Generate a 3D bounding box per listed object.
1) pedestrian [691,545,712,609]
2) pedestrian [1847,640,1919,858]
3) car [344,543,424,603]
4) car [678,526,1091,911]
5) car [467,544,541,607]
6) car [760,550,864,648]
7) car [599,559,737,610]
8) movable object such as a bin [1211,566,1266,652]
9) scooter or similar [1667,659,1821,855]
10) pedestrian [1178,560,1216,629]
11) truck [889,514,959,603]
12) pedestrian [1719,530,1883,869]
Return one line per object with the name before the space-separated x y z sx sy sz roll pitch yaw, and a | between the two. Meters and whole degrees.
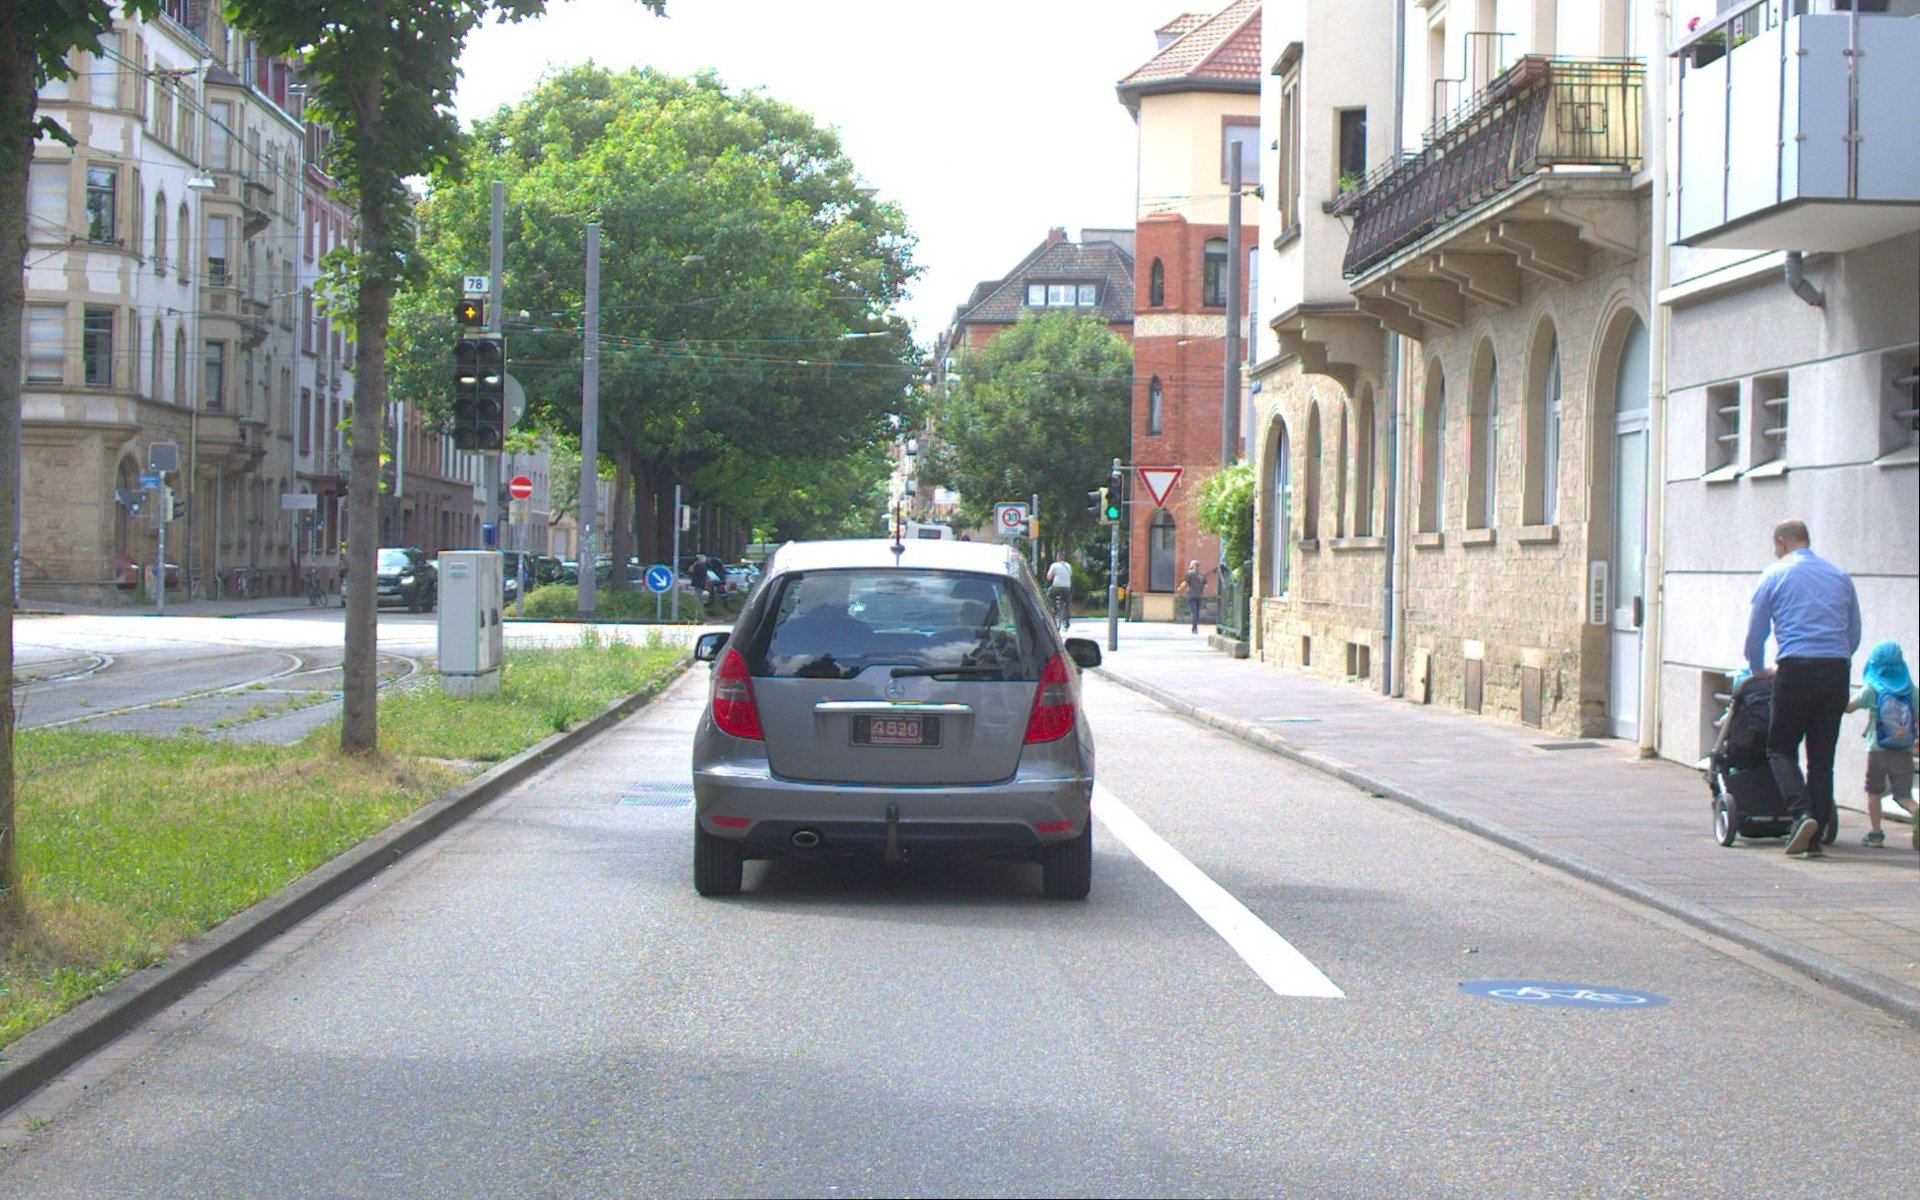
pedestrian | -7.046 -0.630 93.605 0.493 1.719 0.654 1 0 -7
pedestrian | 5.021 0.787 18.317 0.456 1.131 0.494 0 1 -1
car | -15.970 -0.750 95.464 1.993 1.612 4.001 0 1 -7
car | -0.336 0.480 16.272 1.722 1.600 3.677 1 0 -1
car | -12.846 -0.709 97.000 1.993 1.722 4.001 0 1 -7
car | -2.619 -0.033 61.515 1.722 1.700 3.677 1 0 -1
car | -8.370 -0.450 98.348 1.969 1.334 3.999 1 1 -40
movable object such as a bin | 4.794 0.147 59.181 0.714 1.467 0.983 0 0 -10
scooter or similar | 4.318 0.854 18.982 0.592 0.998 0.906 -3 1 -1
pedestrian | 5.720 -0.133 82.903 0.869 1.651 0.736 1 1 3
truck | -1.198 -1.392 116.507 2.123 2.960 4.000 1 0 2
pedestrian | 4.423 0.505 18.120 0.621 1.733 0.877 -1 1 -1
